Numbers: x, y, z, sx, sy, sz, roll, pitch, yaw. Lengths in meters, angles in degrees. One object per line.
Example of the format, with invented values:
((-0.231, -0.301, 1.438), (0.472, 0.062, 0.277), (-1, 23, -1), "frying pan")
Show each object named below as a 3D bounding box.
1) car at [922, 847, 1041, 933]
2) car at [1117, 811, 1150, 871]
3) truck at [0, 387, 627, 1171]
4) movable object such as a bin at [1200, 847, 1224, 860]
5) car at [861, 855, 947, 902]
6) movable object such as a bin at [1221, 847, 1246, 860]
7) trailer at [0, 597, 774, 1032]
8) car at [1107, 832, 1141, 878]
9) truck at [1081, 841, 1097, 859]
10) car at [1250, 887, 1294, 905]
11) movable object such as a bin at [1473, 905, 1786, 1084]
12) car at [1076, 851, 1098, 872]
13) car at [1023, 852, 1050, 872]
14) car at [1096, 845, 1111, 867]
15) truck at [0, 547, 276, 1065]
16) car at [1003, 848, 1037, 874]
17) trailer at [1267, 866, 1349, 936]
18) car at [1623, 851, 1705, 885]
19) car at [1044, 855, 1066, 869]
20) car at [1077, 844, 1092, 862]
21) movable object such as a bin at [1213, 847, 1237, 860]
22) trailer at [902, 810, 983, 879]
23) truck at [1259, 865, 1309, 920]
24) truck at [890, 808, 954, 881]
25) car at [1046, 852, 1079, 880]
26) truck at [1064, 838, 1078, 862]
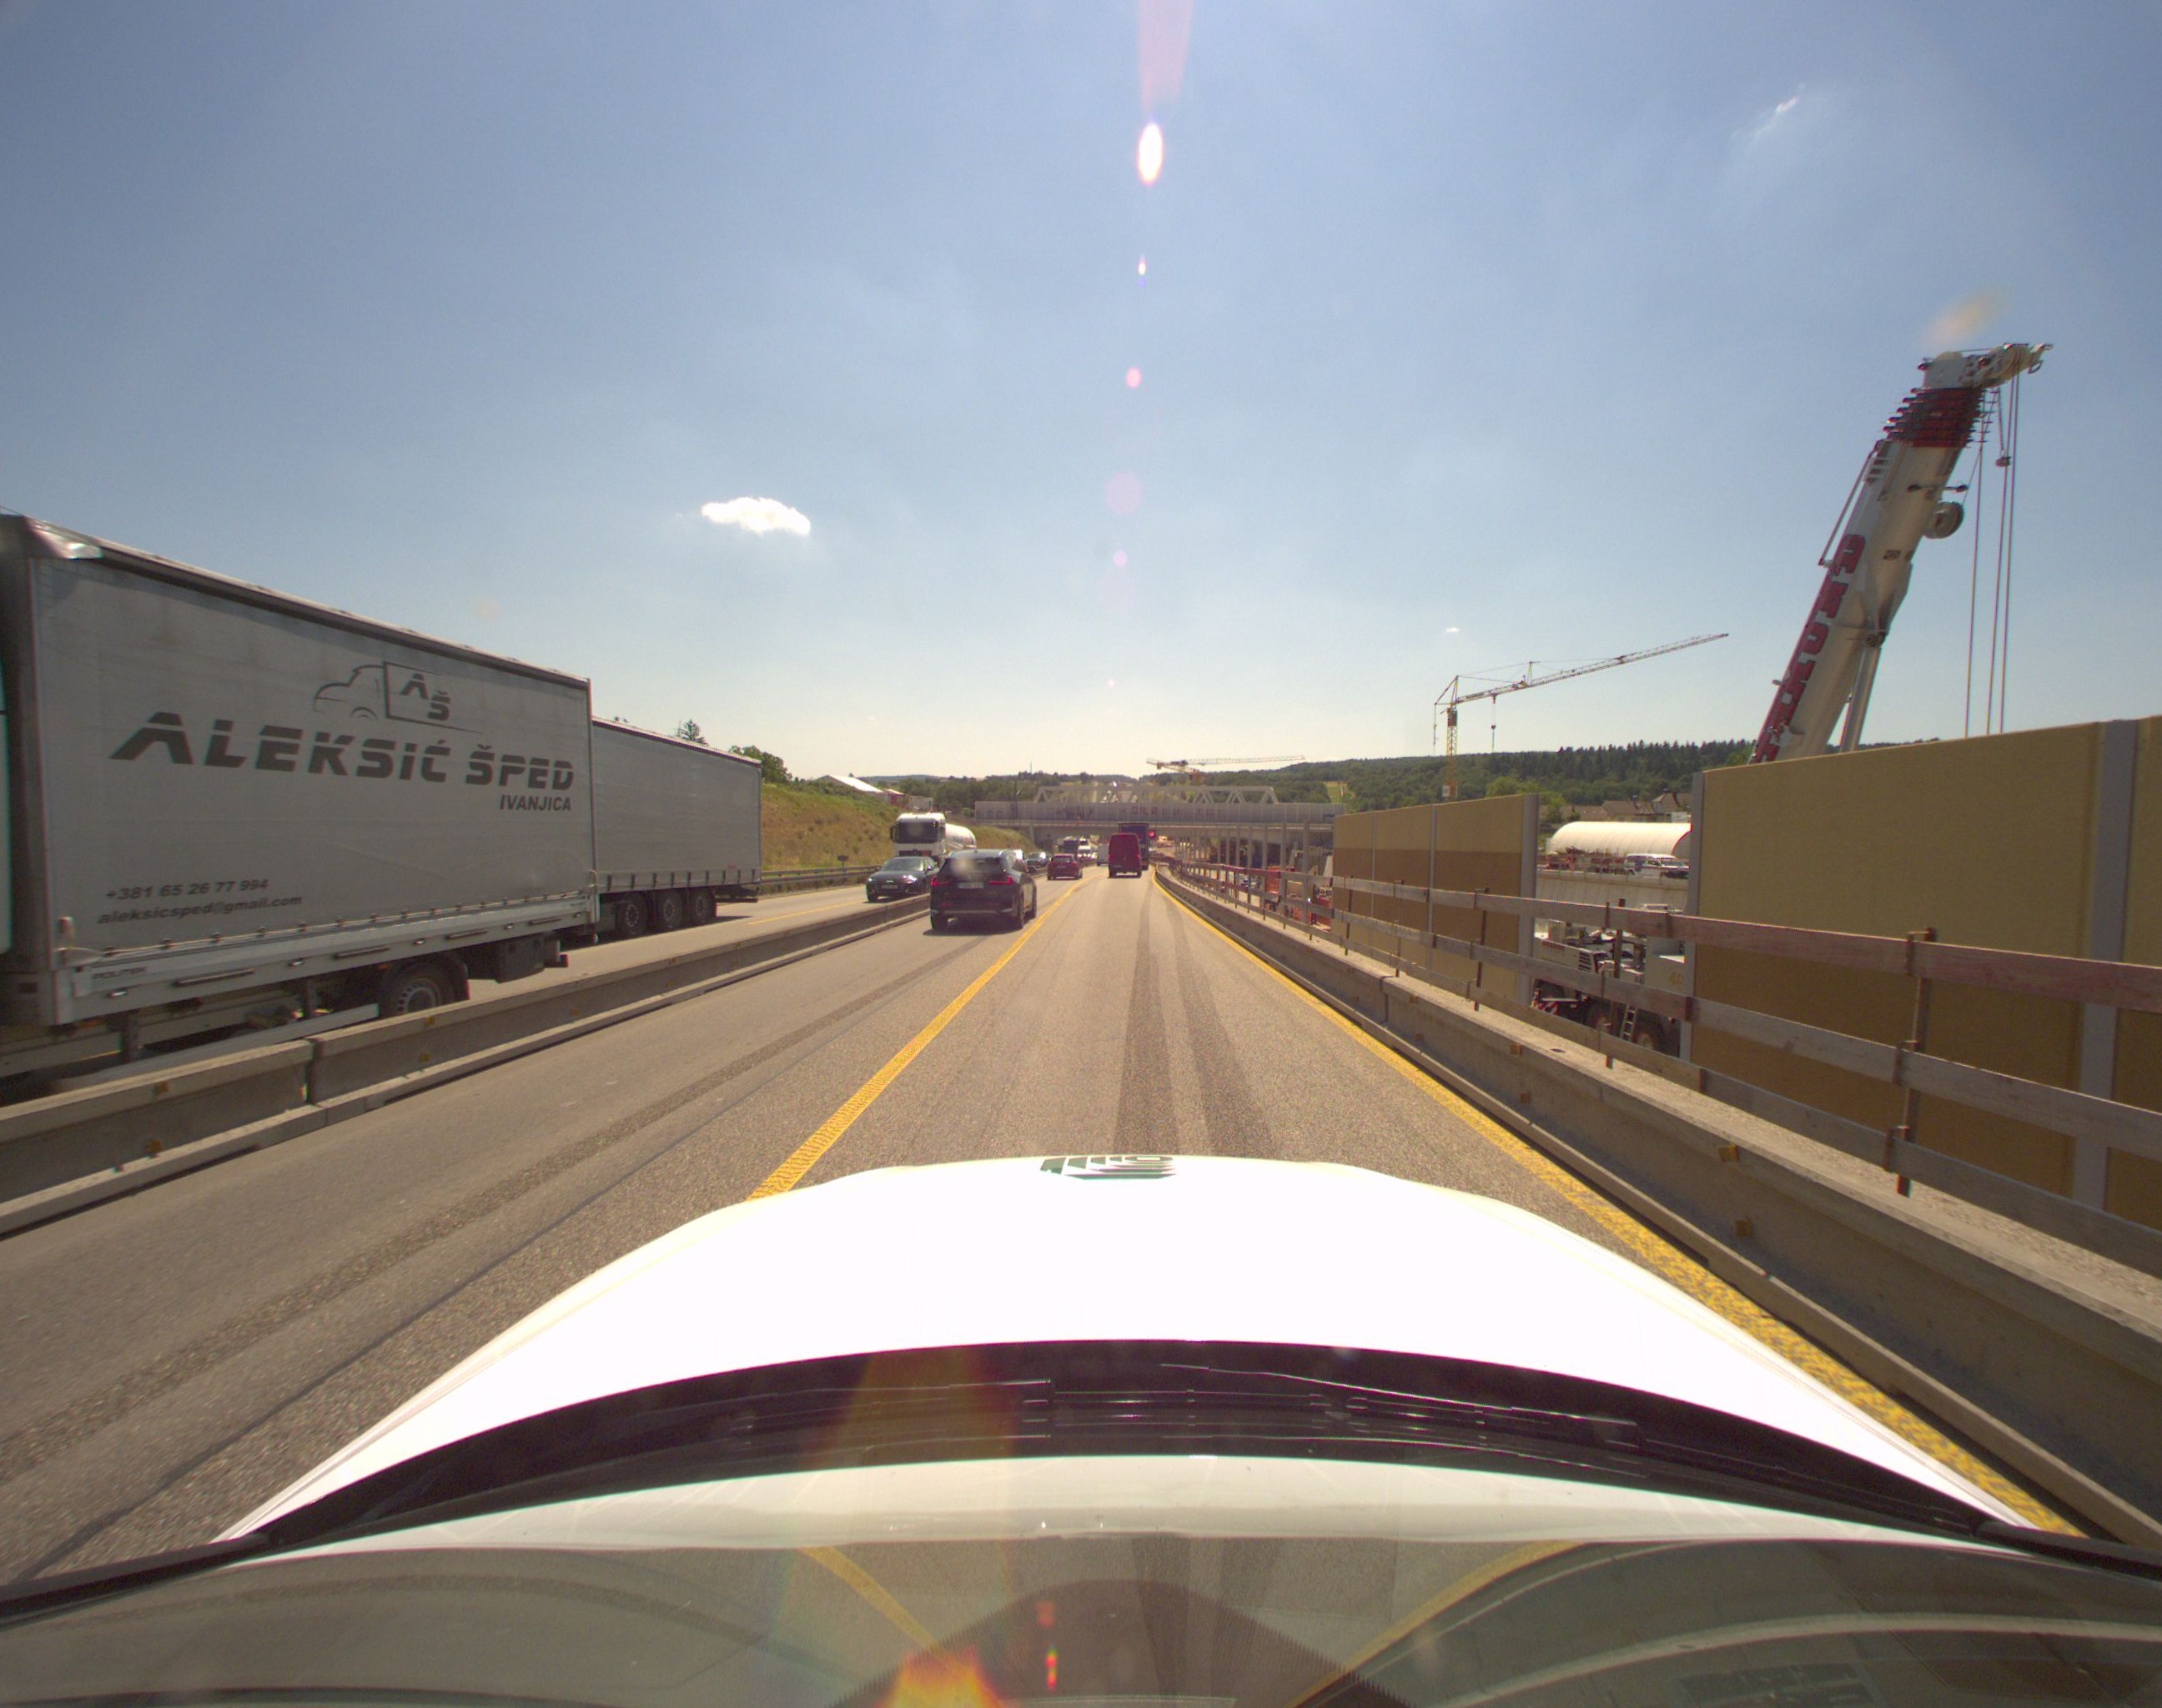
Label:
((-2.008, 0.666, 17.797), (1.872, 1.618, 4.501), (-1, 0, 2), "car")
((4.758, -1.146, 74.842), (2.611, 5.032, 10.401), (-1, 0, 2), "car")
((-6.431, -0.368, 5.362), (2.580, 3.758, 7.361), (0, 0, 2), "truck")
((29.075, -0.130, 180.906), (5.118, 2.807, 2.147), (0, 0, 7), "movable object such as a bin")
((-5.874, 0.758, 27.579), (1.773, 1.458, 4.721), (0, 0, 1), "car")
((31.574, -0.081, 168.936), (5.118, 2.807, 2.147), (0, 0, 7), "movable object such as a bin")
((-9.542, -0.414, 14.402), (2.688, 4.024, 13.707), (0, 0, 2), "trailer")
((2.726, 0.015, 50.560), (1.980, 2.690, 4.628), (-1, 0, 4), "car")
((1.738, -0.827, 177.536), (2.823, 3.852, 12.923), (0, 0, 3), "truck")
((21.828, 4.805, 93.202), (4.708, 1.773, 2.002), (1, 2, 3), "car")
((14.975, 3.565, 23.542), (2.955, 3.487, 9.154), (2, 0, 1), "movable object such as a bin")
((0.528, 0.637, 71.792), (1.833, 1.654, 4.166), (-1, 1, 1), "car")
((-3.853, 0.687, 71.163), (1.783, 1.611, 4.737), (0, 0, 3), "car")
((2.628, 0.182, 94.647), (1.769, 2.441, 4.208), (-1, 0, 2), "car")
((-9.785, -0.375, 6.513), (2.688, 4.050, 3.956), (0, 0, 1), "truck")
((-4.237, 0.458, 57.187), (1.872, 1.745, 4.486), (-1, 0, 3), "car")
((15.137, 2.911, 55.497), (2.746, 3.886, 13.061), (0, 0, 4), "trailer")
((37.325, 0.855, 52.296), (1.800, 2.013, 4.825), (0, 0, 0), "car")
((-2.774, 0.843, 86.620), (1.953, 1.464, 4.944), (0, 0, 3), "car")
((0.563, -0.164, 119.627), (1.985, 2.606, 7.015), (0, 0, 2), "car")
((30.956, -0.176, 175.499), (5.118, 2.807, 2.147), (0, 0, 7), "movable object such as a bin")
((-8.340, -0.544, 50.683), (2.580, 3.801, 11.923), (0, 0, 2), "trailer")
((15.571, 2.859, 62.851), (2.747, 3.886, 5.887), (0, 0, 3), "truck")
((-8.563, -0.503, 44.185), (2.580, 3.801, 3.769), (0, 0, 2), "truck")
((-1.011, 0.651, 46.696), (1.770, 1.517, 4.206), (-1, 0, 0), "car")
((-1.617, -0.664, 133.694), (2.350, 4.015, 4.000), (0, 0, 0), "truck")
